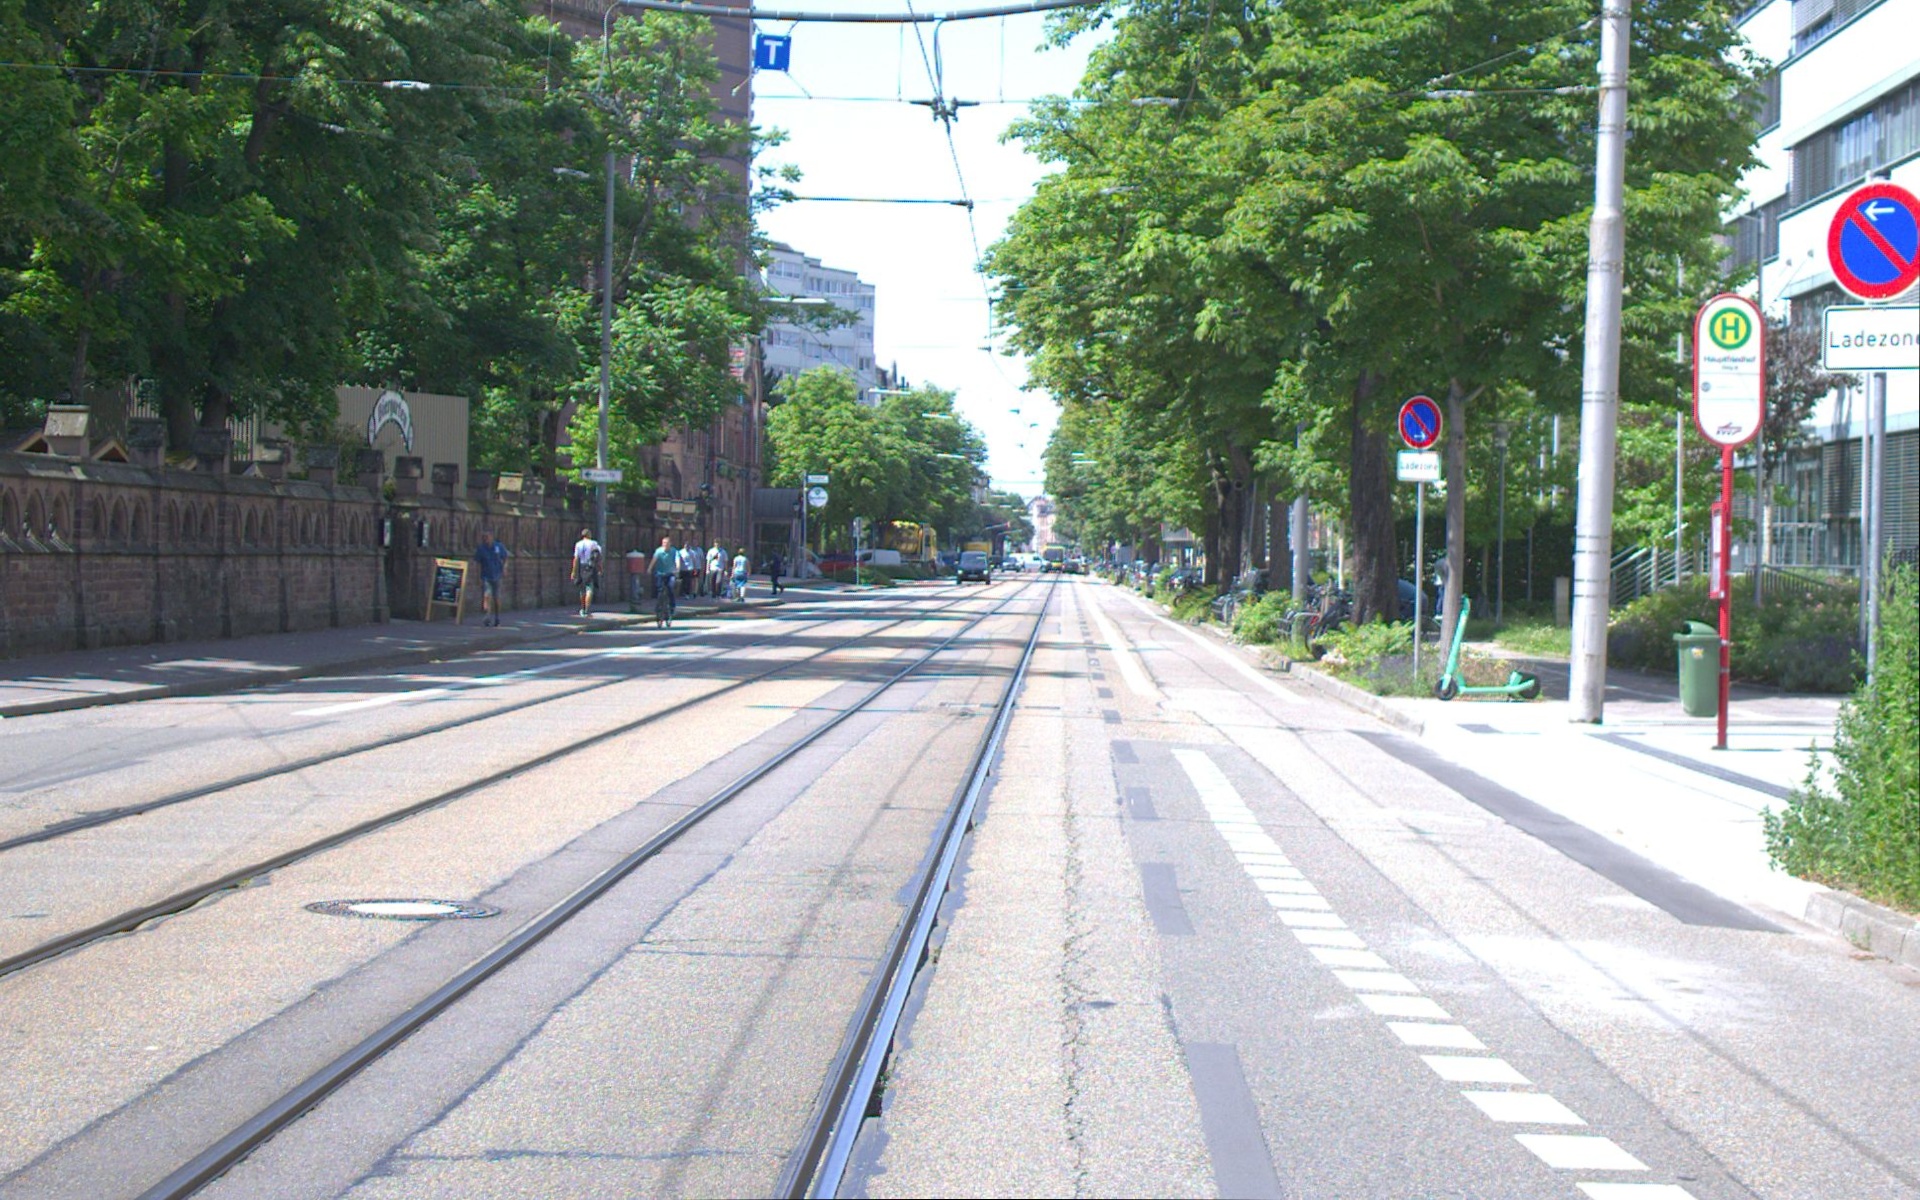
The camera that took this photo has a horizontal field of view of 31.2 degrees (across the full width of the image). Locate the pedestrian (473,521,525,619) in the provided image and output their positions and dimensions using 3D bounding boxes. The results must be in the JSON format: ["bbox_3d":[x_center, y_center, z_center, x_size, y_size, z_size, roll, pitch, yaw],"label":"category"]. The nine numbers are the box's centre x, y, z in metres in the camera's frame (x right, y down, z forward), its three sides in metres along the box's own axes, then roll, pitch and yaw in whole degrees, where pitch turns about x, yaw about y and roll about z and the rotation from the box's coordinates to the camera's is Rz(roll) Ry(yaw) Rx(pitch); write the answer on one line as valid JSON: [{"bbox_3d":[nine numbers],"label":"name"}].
[{"bbox_3d":[-8.293,-0.541,61.896,0.743,1.722,0.867,2,1,2],"label":"pedestrian"}]

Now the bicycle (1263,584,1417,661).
[{"bbox_3d":[6.329,0.372,57.279,2.511,1.205,0.622,1,1,6],"label":"bicycle"}]

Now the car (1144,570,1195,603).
[{"bbox_3d":[8.790,-0.592,144.360,1.993,1.305,4.000,1,1,2],"label":"car"}]

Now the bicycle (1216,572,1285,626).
[{"bbox_3d":[6.785,-0.028,80.287,1.564,1.237,0.437,1,1,4],"label":"bicycle"}]

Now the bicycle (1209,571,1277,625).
[{"bbox_3d":[6.700,-0.051,81.403,1.564,1.237,0.437,1,1,4],"label":"bicycle"}]

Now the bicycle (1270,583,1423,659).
[{"bbox_3d":[6.515,0.343,58.007,2.511,1.205,0.741,1,1,6],"label":"bicycle"}]

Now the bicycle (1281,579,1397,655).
[{"bbox_3d":[6.080,0.271,55.170,1.752,1.161,0.530,2,1,-1],"label":"bicycle"}]

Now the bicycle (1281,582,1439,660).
[{"bbox_3d":[6.491,0.337,55.875,2.511,1.205,0.648,1,1,6],"label":"bicycle"}]

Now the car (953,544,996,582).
[{"bbox_3d":[0.820,-2.047,188.676,1.994,2.007,4.000,2,1,4],"label":"car"}]

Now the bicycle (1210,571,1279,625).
[{"bbox_3d":[6.687,-0.042,80.874,1.564,1.237,0.437,1,1,4],"label":"bicycle"}]

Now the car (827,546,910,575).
[{"bbox_3d":[-5.697,-2.454,214.078,4.728,1.711,2.000,1,1,-25],"label":"car"}]

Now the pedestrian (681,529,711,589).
[{"bbox_3d":[-7.753,-1.214,101.059,0.743,1.722,0.867,2,1,2],"label":"pedestrian"}]

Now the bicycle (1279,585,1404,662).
[{"bbox_3d":[6.277,0.383,56.598,1.997,1.205,0.662,1,1,6],"label":"bicycle"}]

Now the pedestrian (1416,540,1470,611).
[{"bbox_3d":[12.567,-0.640,89.423,1.215,1.821,0.831,1,1,-1],"label":"pedestrian"}]

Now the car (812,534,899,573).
[{"bbox_3d":[-5.503,-2.449,180.880,3.986,1.798,2.000,3,1,-30],"label":"car"}]

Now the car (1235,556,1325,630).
[{"bbox_3d":[6.844,-0.170,73.874,1.634,1.496,4.000,1,1,2],"label":"car"}]

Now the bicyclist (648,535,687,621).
[{"bbox_3d":[-5.755,-0.436,67.723,0.642,1.674,0.815,1,1,2],"label":"bicyclist"}]

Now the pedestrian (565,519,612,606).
[{"bbox_3d":[-7.724,-0.775,71.505,0.814,1.764,0.924,2,1,2],"label":"pedestrian"}]

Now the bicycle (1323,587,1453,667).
[{"bbox_3d":[6.210,0.388,49.932,1.788,1.098,0.532,1,1,0],"label":"bicycle"}]

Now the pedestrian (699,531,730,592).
[{"bbox_3d":[-7.121,-1.122,99.670,0.743,1.722,0.867,2,1,2],"label":"pedestrian"}]

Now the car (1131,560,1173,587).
[{"bbox_3d":[9.765,-1.376,175.191,1.993,1.305,4.000,1,1,2],"label":"car"}]

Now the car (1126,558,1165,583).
[{"bbox_3d":[10.135,-1.607,188.222,1.993,1.305,4.000,1,1,2],"label":"car"}]

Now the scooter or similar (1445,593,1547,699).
[{"bbox_3d":[5.898,0.507,37.850,1.058,1.152,0.370,0,0,3],"label":"scooter or similar"}]

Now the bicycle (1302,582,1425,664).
[{"bbox_3d":[6.059,0.342,51.673,1.752,1.161,0.530,2,1,-1],"label":"bicycle"}]

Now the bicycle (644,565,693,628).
[{"bbox_3d":[-5.730,-0.073,67.620,0.701,1.200,2.240,-1,1,1],"label":"bicycle"}]

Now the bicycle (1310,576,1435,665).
[{"bbox_3d":[6.129,0.303,51.088,1.752,1.266,0.530,2,1,-1],"label":"bicycle"}]

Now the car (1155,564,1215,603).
[{"bbox_3d":[8.040,-0.608,123.168,1.993,1.305,4.000,1,1,2],"label":"car"}]

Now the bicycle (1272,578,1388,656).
[{"bbox_3d":[5.884,0.268,54.675,1.752,1.161,0.530,2,1,-1],"label":"bicycle"}]

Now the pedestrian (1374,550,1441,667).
[{"bbox_3d":[6.605,0.122,50.731,0.584,1.709,0.795,2,1,45],"label":"pedestrian"}]

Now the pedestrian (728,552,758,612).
[{"bbox_3d":[-6.340,-0.527,100.535,0.743,1.722,0.867,2,1,1],"label":"pedestrian"}]
